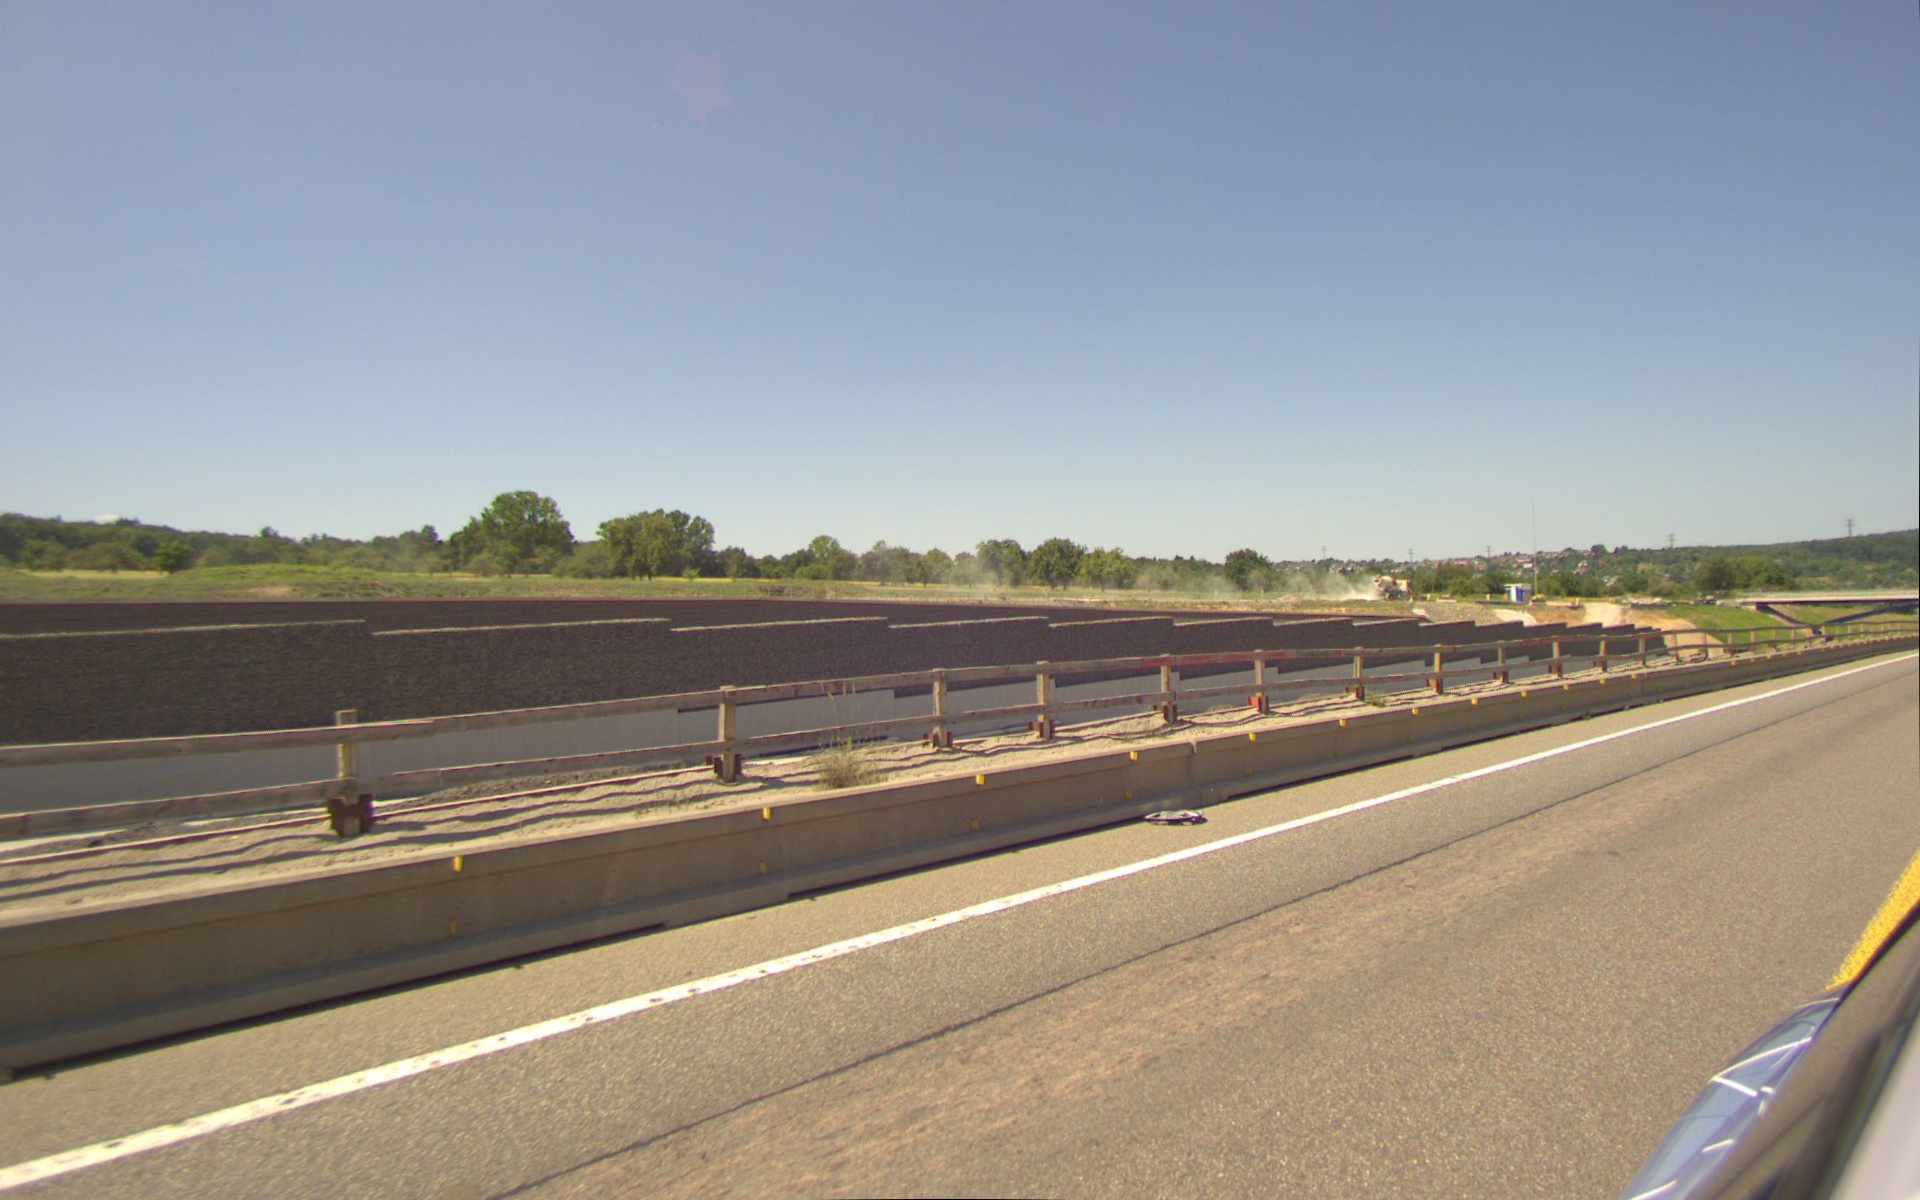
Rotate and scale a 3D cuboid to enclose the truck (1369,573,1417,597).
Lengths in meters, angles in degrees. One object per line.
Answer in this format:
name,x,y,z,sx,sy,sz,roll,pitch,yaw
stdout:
truck,65.666,-2.258,153.306,8.600,3.510,3.153,0,-2,-40
